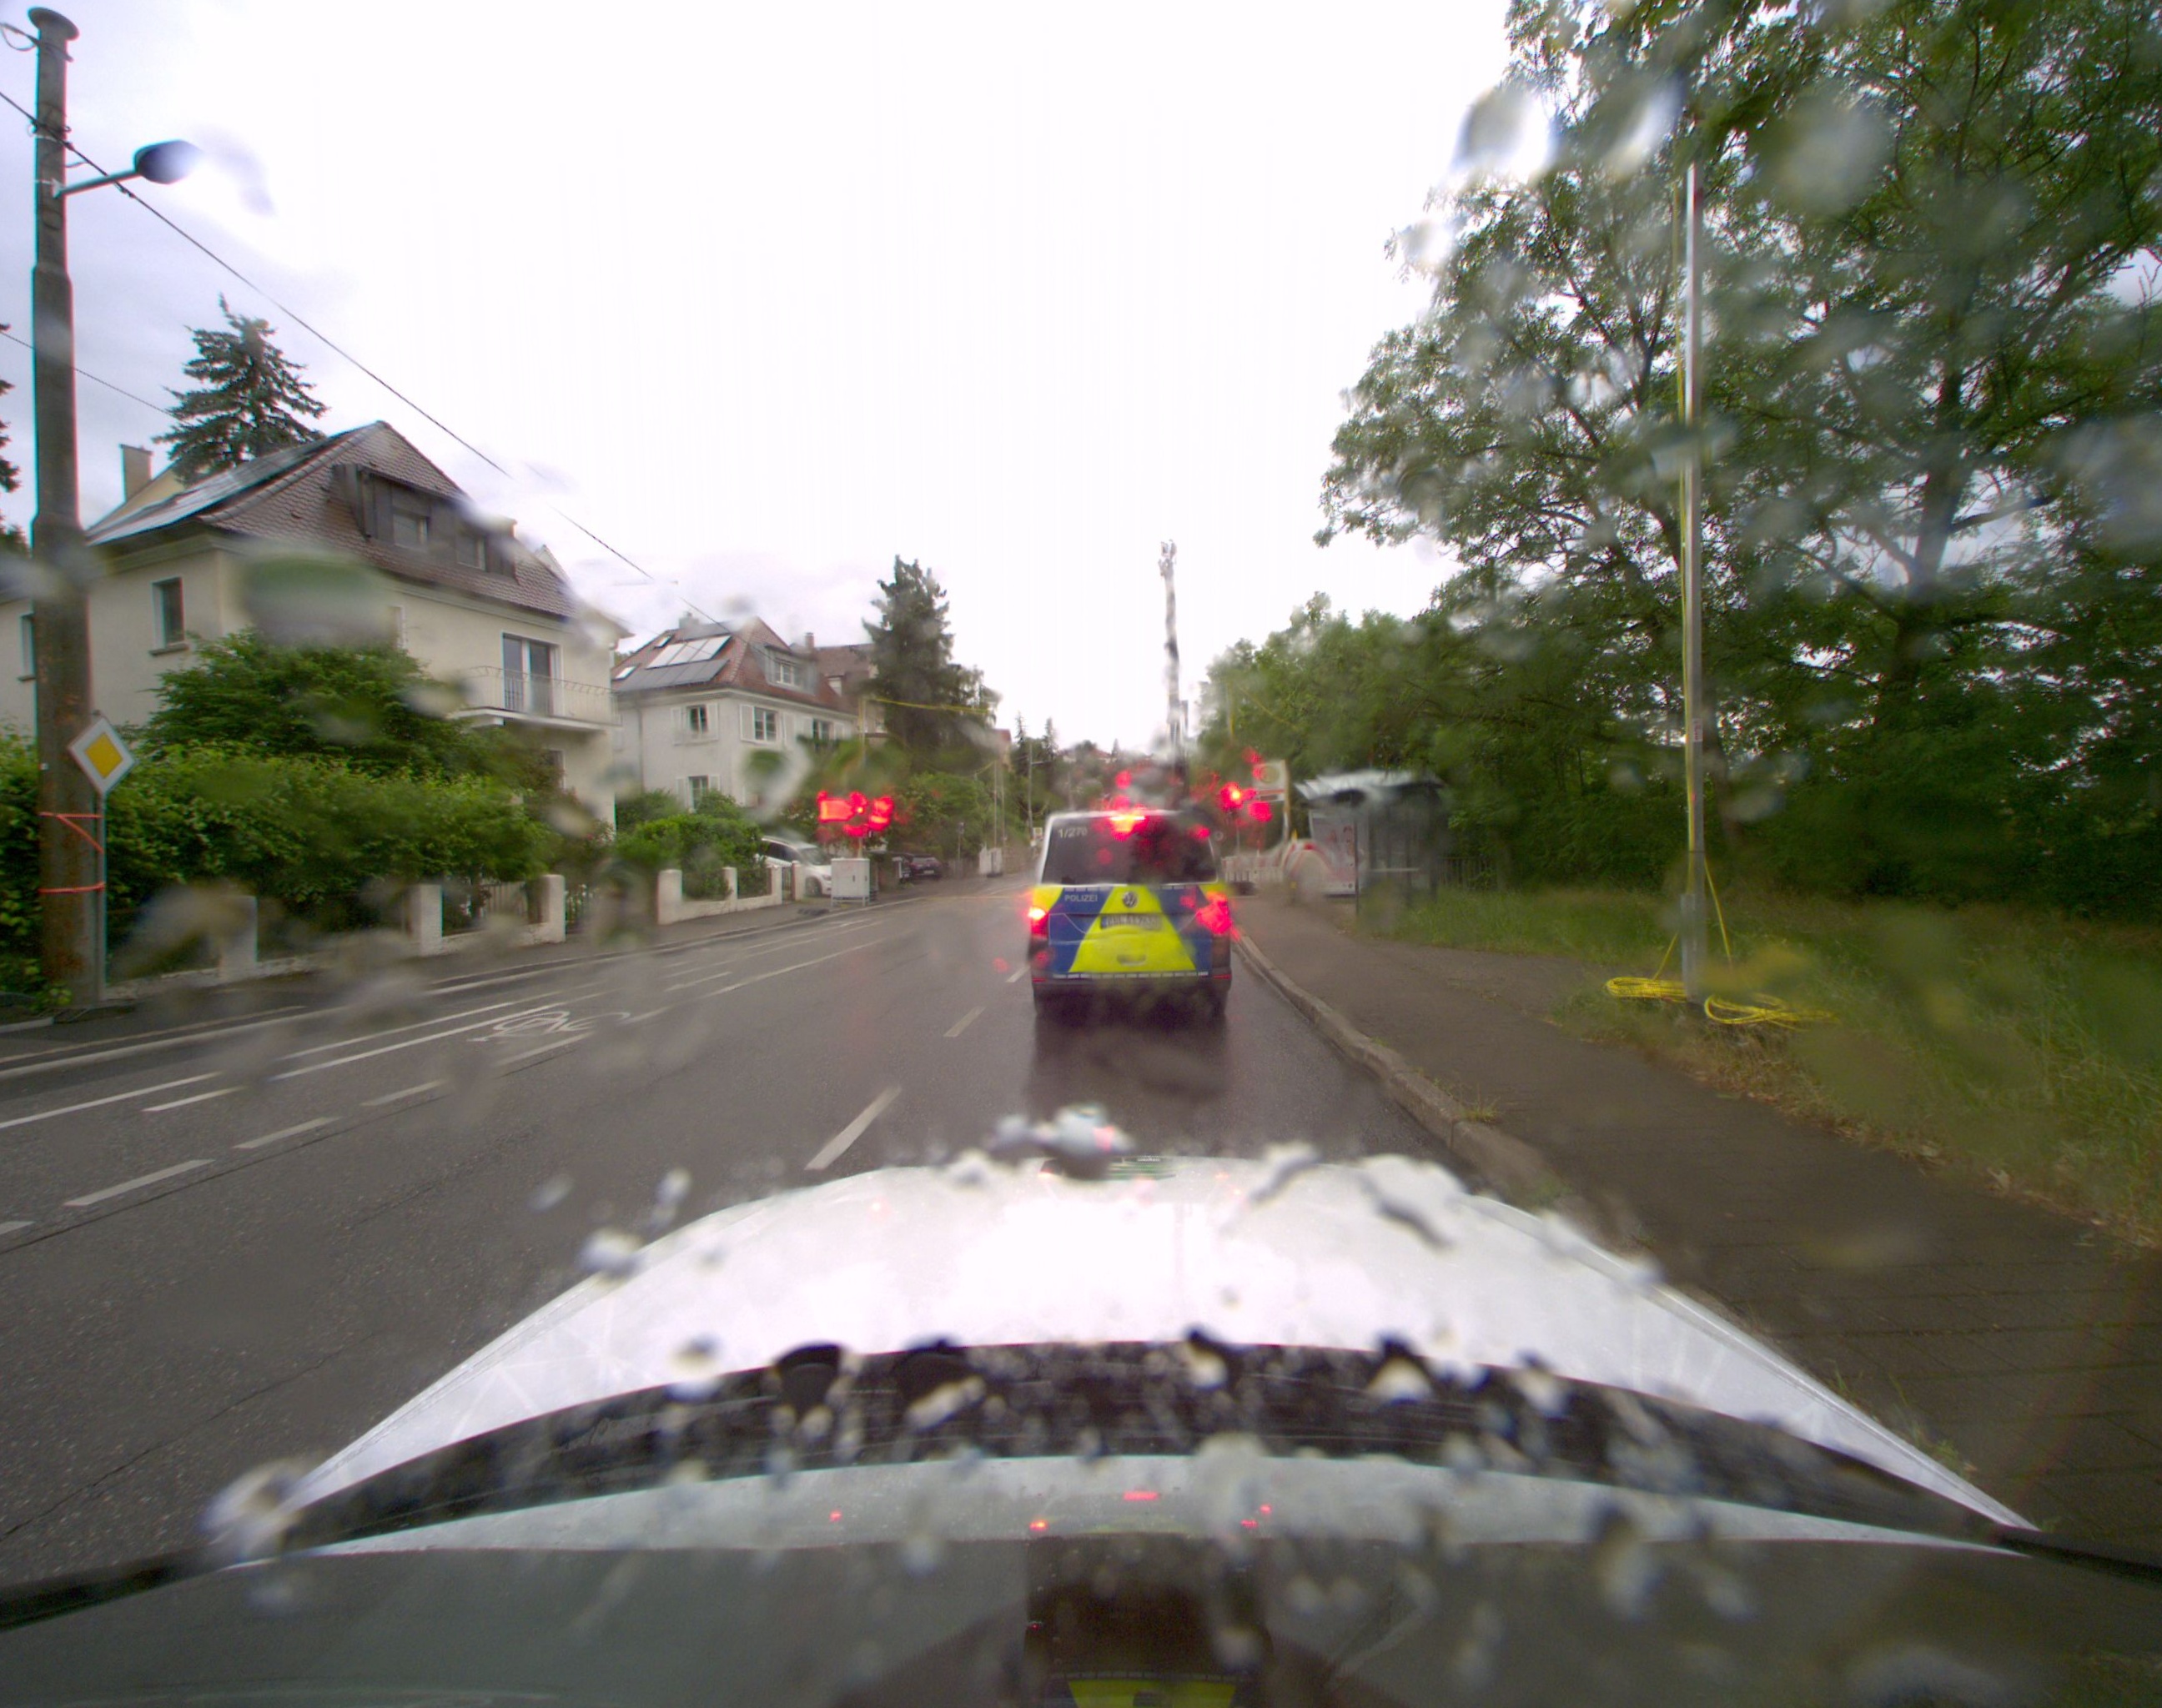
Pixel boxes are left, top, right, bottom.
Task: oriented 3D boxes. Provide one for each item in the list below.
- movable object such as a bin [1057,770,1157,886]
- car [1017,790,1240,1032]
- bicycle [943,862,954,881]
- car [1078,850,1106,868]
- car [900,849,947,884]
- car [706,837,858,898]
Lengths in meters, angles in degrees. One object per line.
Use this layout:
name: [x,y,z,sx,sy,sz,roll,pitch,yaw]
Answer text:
movable object such as a bin: [1.111,-0.928,31.778,2.809,4.177,4.400,0,0,17]
car: [0.466,0.484,8.947,1.886,2.050,4.002,0,0,2]
bicycle: [-6.495,0.829,39.895,0.463,0.897,1.627,-1,0,-12]
car: [1.036,0.458,71.903,1.842,1.527,4.830,0,0,8]
car: [-7.449,0.558,38.305,1.770,1.486,3.720,0,1,-17]
car: [-10.275,0.461,28.063,4.599,2.007,1.907,0,0,13]
